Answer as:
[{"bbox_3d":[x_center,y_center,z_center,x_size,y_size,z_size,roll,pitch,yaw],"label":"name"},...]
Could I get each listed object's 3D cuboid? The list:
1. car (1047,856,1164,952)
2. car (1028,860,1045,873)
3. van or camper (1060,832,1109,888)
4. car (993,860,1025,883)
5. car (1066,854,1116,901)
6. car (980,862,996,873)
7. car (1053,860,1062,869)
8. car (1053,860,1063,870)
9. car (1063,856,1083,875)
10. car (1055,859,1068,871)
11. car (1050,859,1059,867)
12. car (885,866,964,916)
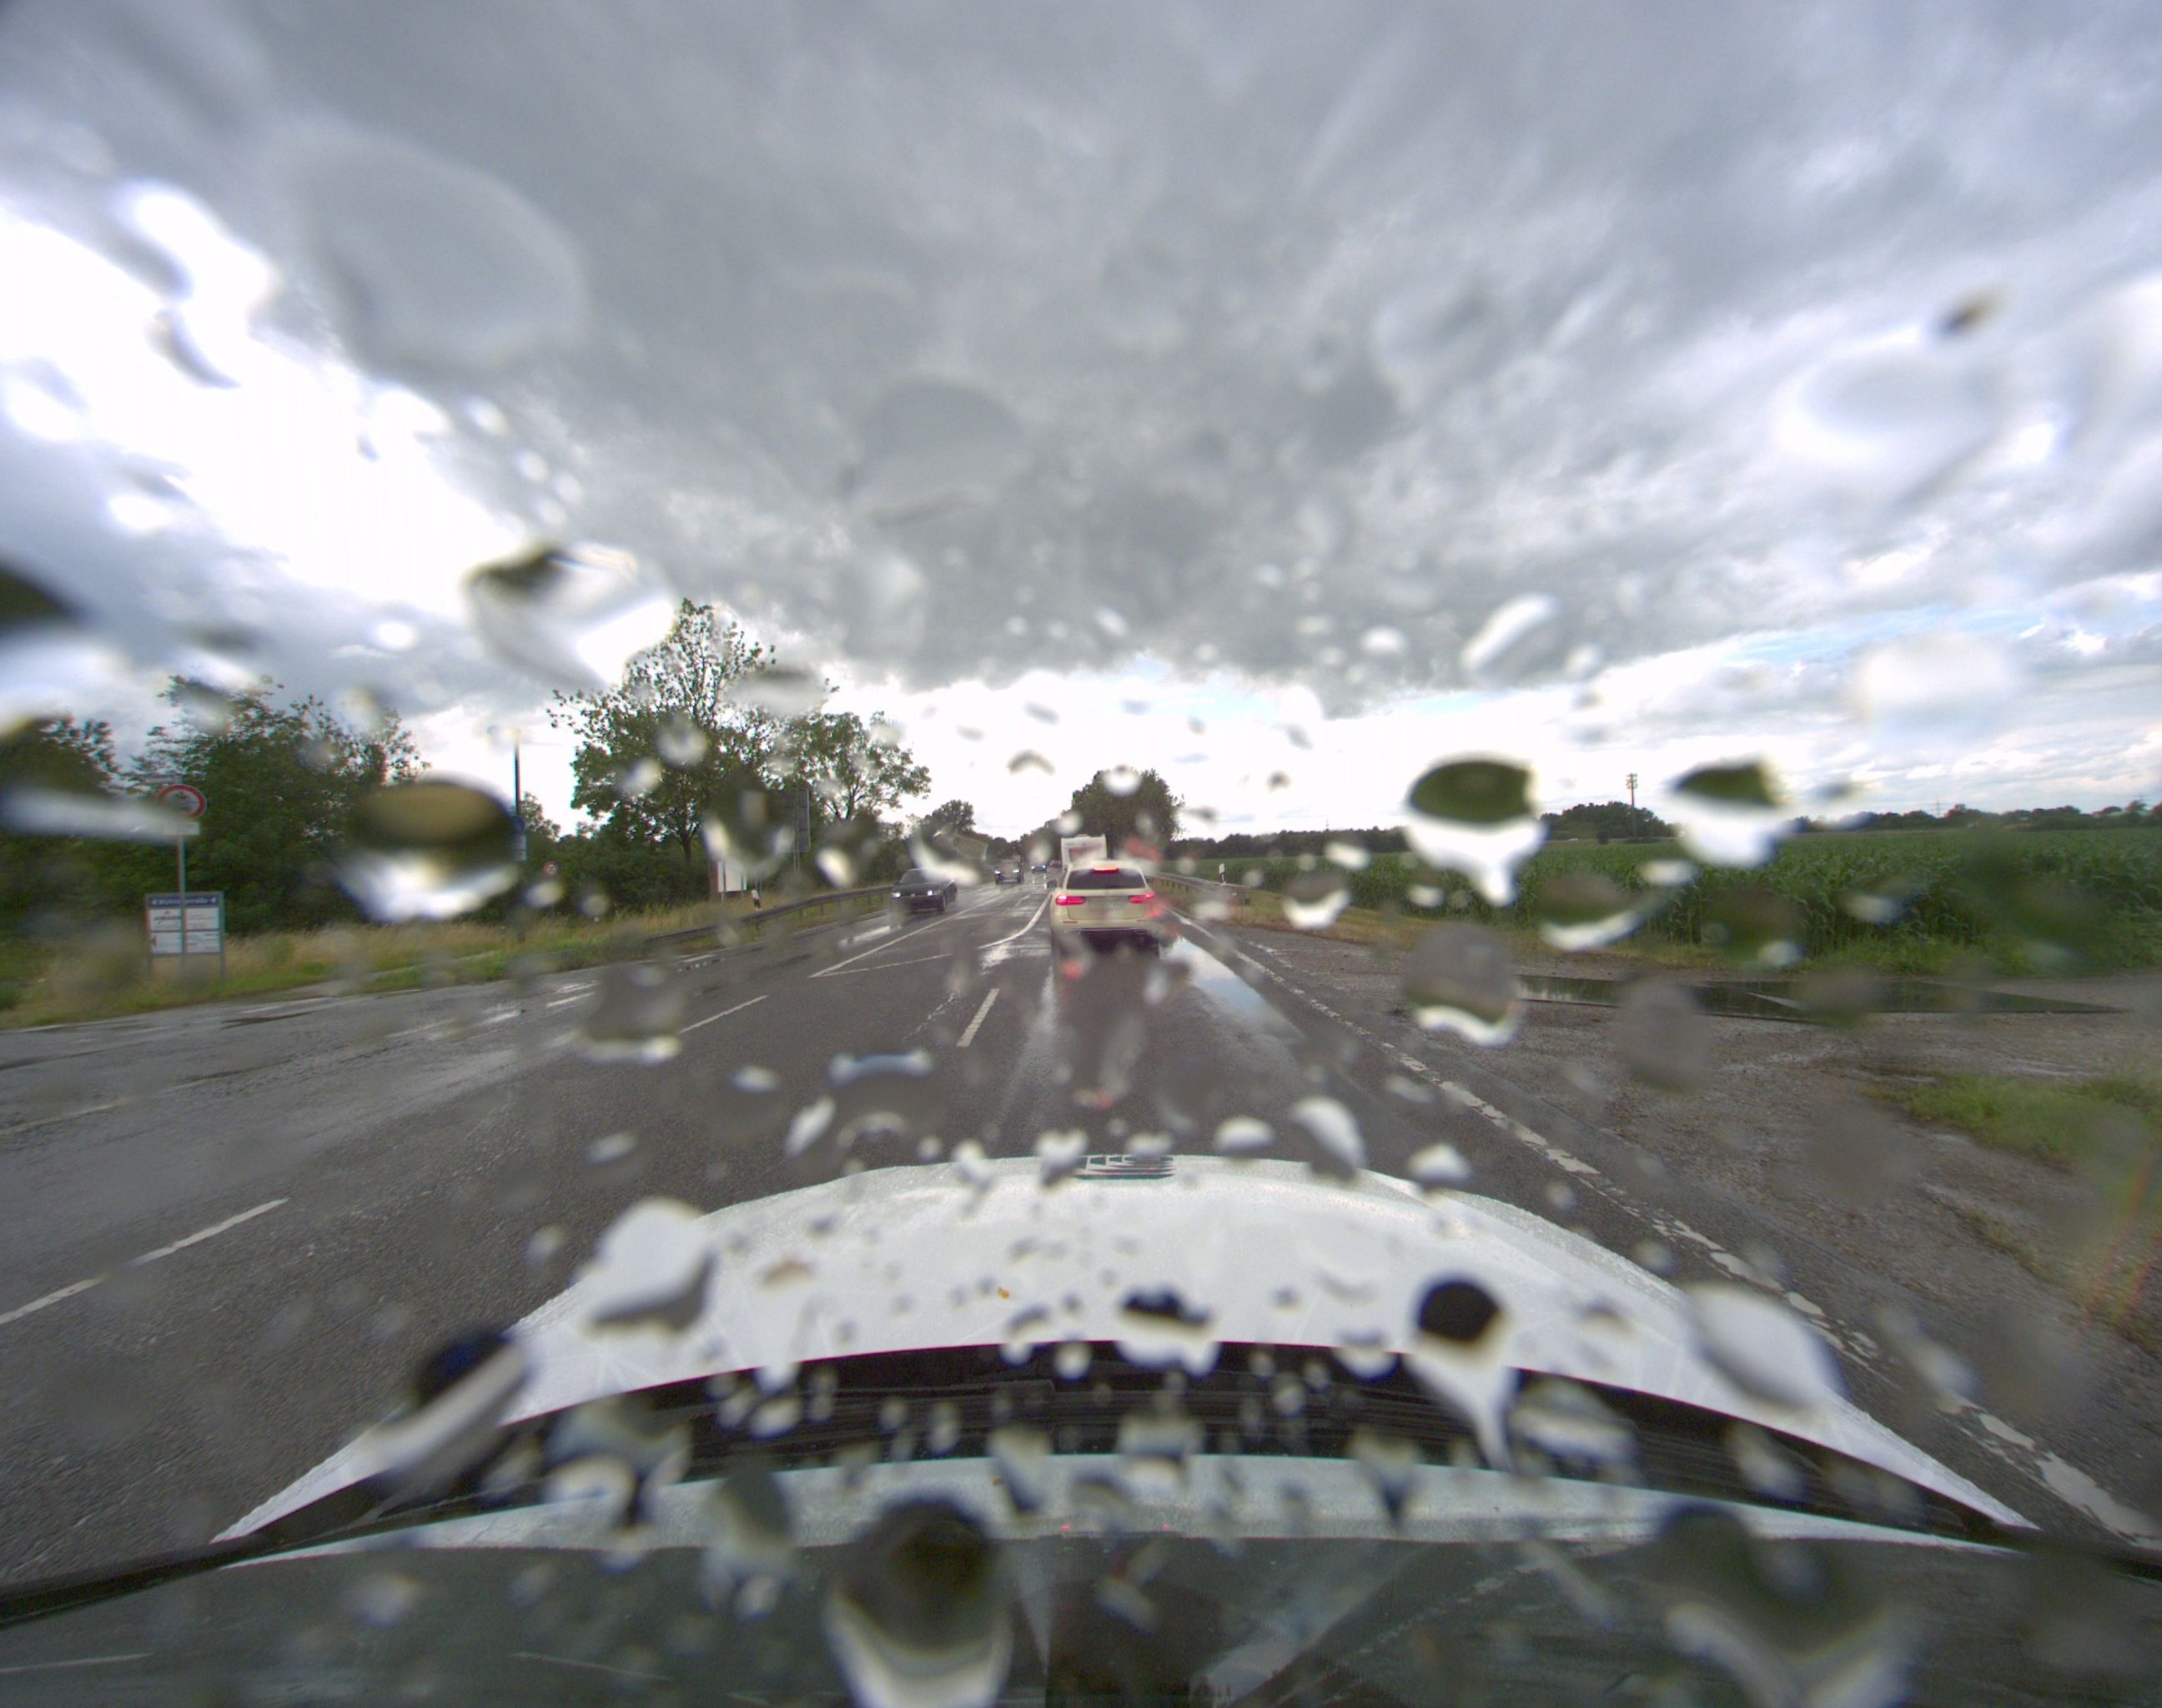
[{"bbox_3d":[0.430,0.809,14.954,1.818,1.485,4.145,-1,0,1],"label":"car"},{"bbox_3d":[-5.660,1.564,103.833,1.763,1.523,4.141,-4,0,0],"label":"car"},{"bbox_3d":[0.155,0.299,43.510,2.343,2.680,5.767,-2,0,0],"label":"van or camper"},{"bbox_3d":[-5.385,1.280,61.580,1.937,1.580,4.443,-3,0,0],"label":"car"},{"bbox_3d":[0.334,0.810,29.784,1.622,1.529,3.931,-2,0,0],"label":"car"},{"bbox_3d":[-15.114,2.242,132.290,1.986,1.651,4.001,-2,0,1],"label":"car"},{"bbox_3d":[-5.315,2.329,184.921,1.987,2.014,3.998,-2,-1,-1],"label":"car"},{"bbox_3d":[-4.860,2.238,171.643,1.990,2.014,3.993,-2,-1,-5],"label":"car"},{"bbox_3d":[-0.993,1.343,100.325,2.239,2.199,5.412,-2,0,1],"label":"car"},{"bbox_3d":[-3.417,1.987,143.407,1.991,2.014,3.992,-2,-1,-6],"label":"car"},{"bbox_3d":[-6.628,2.285,201.942,1.989,2.014,3.996,-2,-1,-3],"label":"car"},{"bbox_3d":[-5.126,1.177,27.205,1.705,1.405,3.815,-3,0,2],"label":"car"}]
